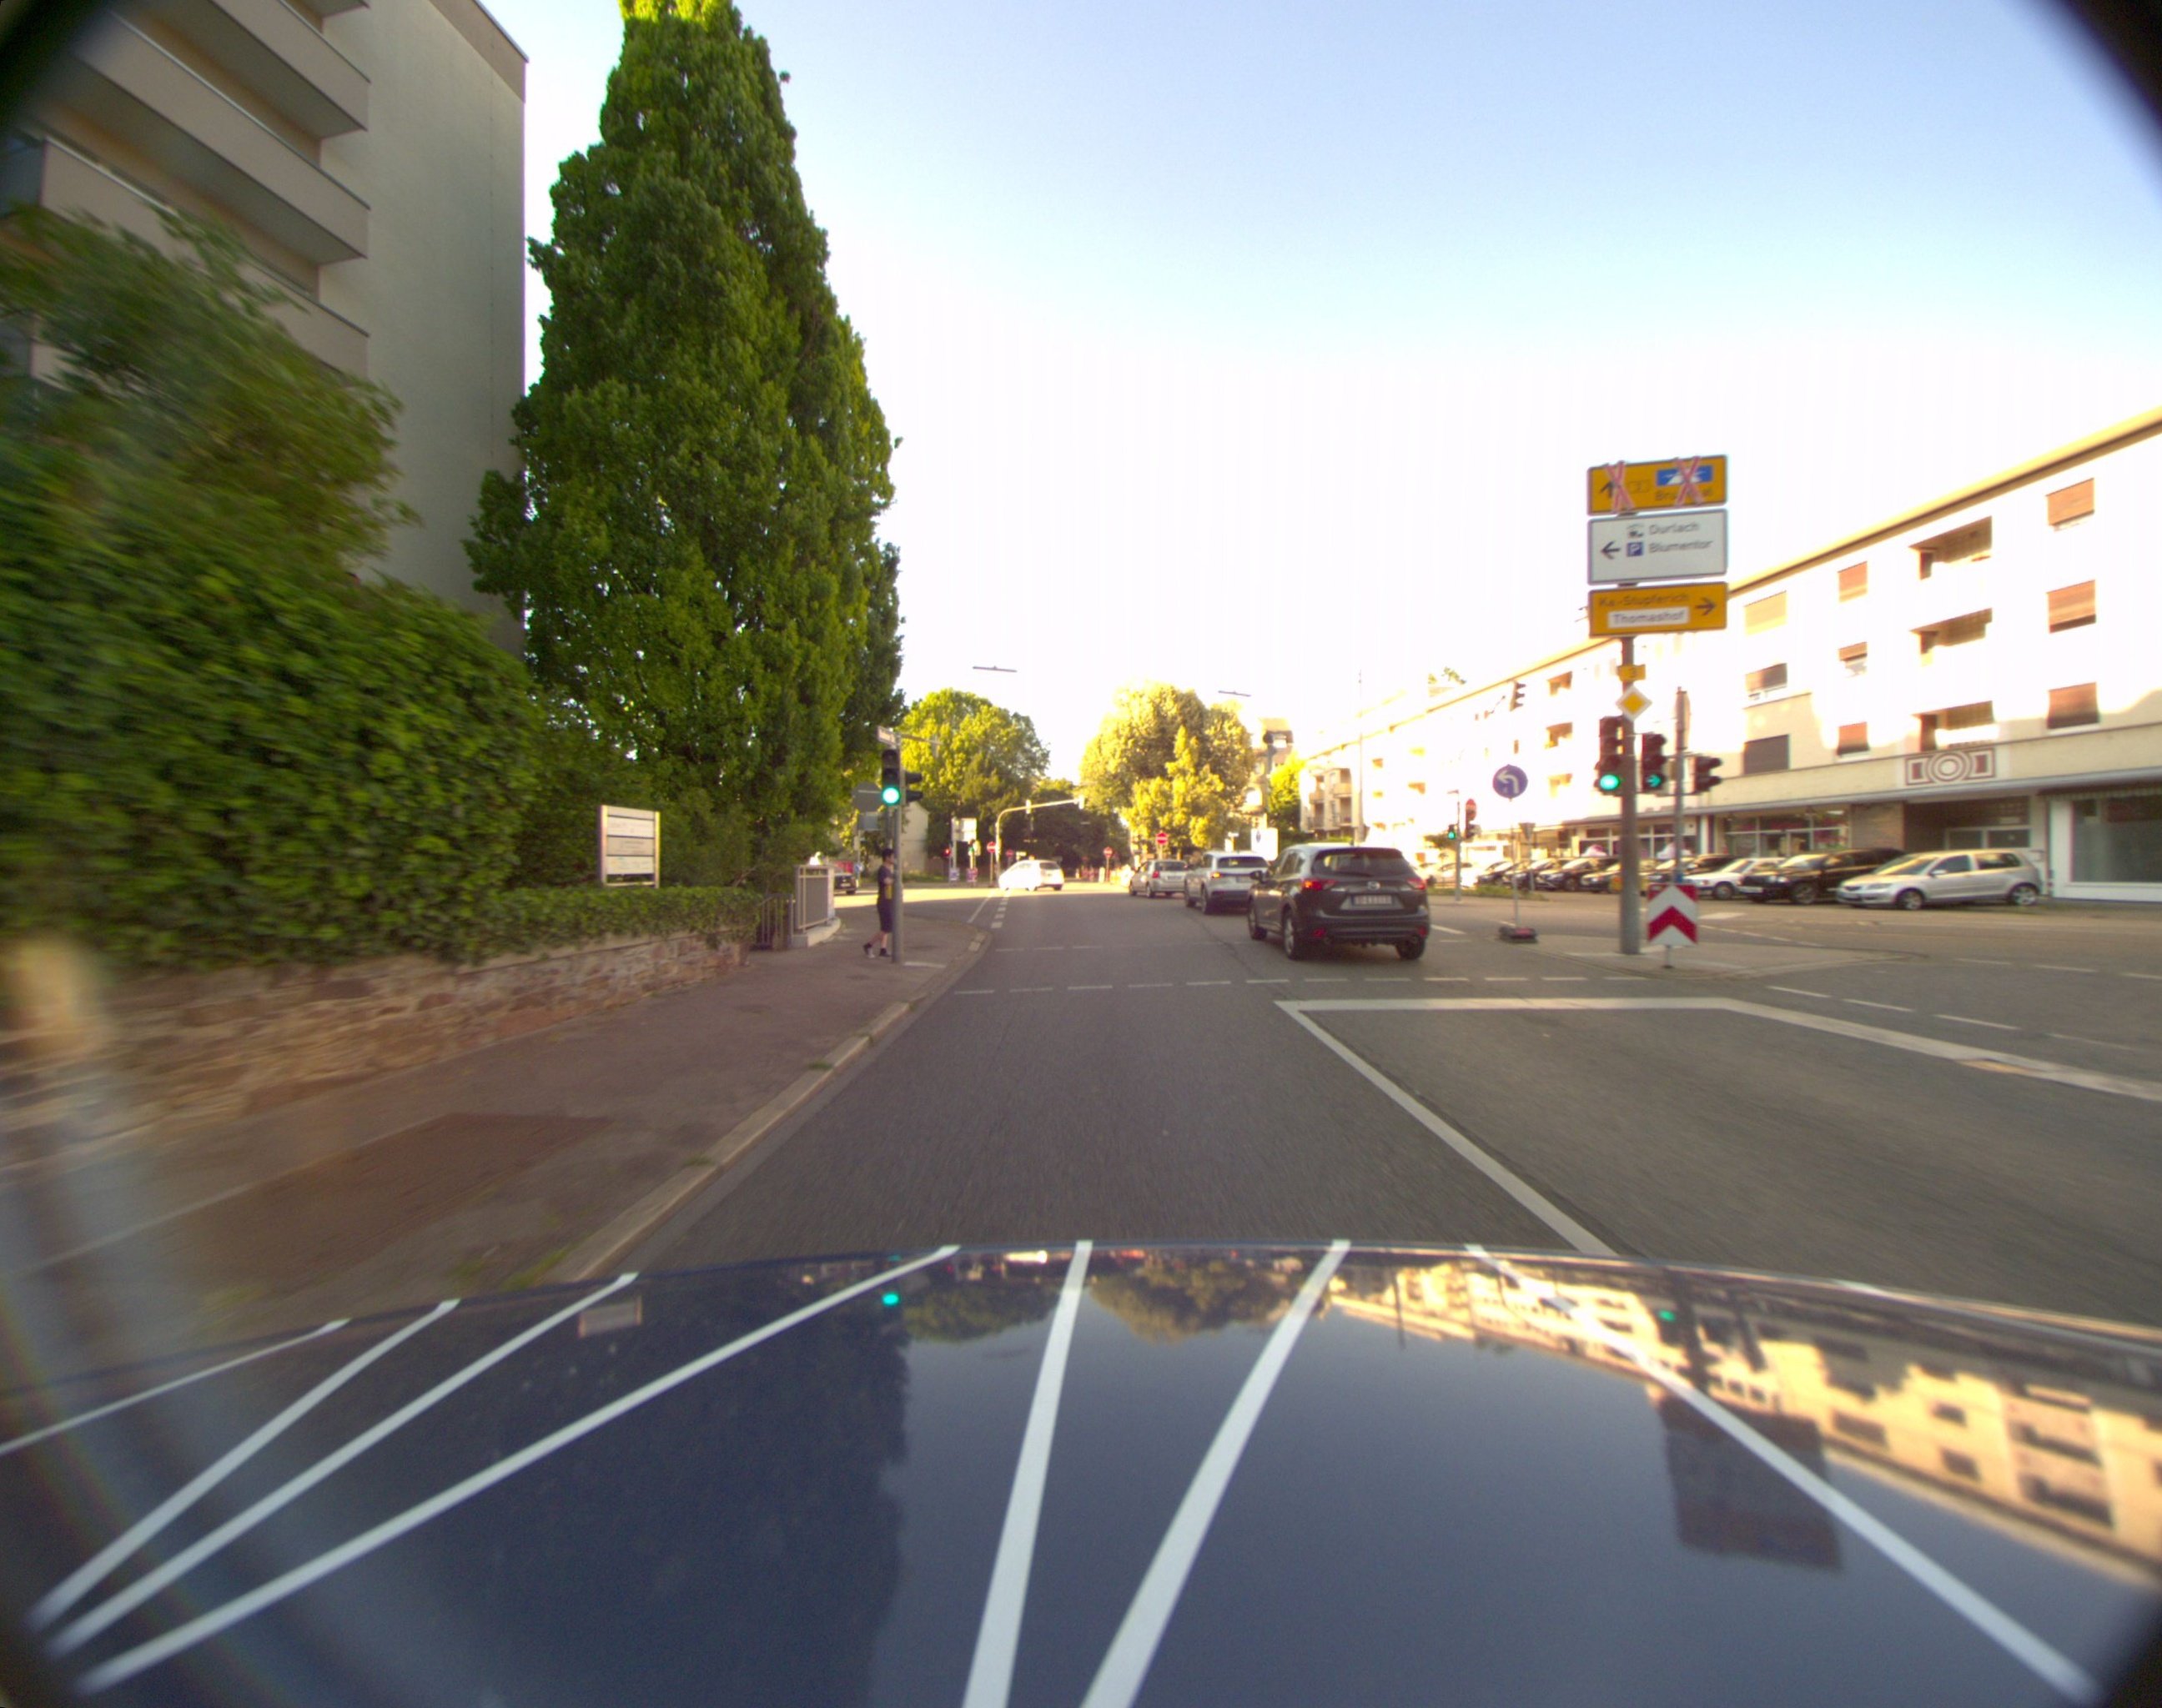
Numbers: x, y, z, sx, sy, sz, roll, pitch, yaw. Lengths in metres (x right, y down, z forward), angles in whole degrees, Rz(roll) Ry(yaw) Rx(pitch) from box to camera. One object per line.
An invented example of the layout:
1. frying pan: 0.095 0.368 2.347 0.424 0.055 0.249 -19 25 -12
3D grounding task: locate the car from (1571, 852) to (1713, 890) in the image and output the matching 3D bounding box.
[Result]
1. car: 22.909 0.702 31.151 4.324 1.390 2.000 -2 -1 0

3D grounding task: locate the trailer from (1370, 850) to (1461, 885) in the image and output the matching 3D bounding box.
1. trailer: 14.573 0.599 33.205 3.263 1.388 1.574 -2 -1 -4

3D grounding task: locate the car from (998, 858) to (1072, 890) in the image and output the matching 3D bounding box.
1. car: -2.420 1.036 39.422 1.785 1.533 3.990 -1 -1 -39

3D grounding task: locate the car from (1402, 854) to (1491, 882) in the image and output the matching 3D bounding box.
1. car: 21.831 0.859 45.513 4.324 1.501 2.000 -2 -1 0

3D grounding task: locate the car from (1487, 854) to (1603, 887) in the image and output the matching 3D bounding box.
1. car: 22.243 0.786 36.542 4.324 1.390 2.000 -2 -1 0

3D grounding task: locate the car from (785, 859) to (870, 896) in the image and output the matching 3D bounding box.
1. car: -12.882 1.155 38.471 4.651 1.661 2.003 -1 2 43

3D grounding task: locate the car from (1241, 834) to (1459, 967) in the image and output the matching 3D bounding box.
1. car: 3.870 0.624 11.804 1.958 1.638 4.284 -2 -1 2

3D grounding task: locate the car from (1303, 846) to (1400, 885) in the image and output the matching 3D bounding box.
1. car: 13.985 0.595 39.469 4.324 1.840 2.000 -2 -1 1

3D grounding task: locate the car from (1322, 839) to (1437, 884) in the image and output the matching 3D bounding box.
1. car: 14.291 0.379 36.544 4.680 1.953 2.117 -2 -1 -4

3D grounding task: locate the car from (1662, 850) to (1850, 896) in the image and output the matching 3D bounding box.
1. car: 22.751 0.650 25.816 4.320 1.390 2.002 -2 -1 12

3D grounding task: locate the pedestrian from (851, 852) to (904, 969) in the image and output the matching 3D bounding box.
1. pedestrian: -3.013 0.817 11.270 0.604 1.683 0.612 0 0 1

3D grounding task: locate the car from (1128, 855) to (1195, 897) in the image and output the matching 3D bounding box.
1. car: 2.997 0.821 29.157 1.781 1.471 4.095 -2 -1 -5

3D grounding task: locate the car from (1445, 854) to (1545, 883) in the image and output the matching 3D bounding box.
1. car: 22.420 0.770 41.255 4.324 1.390 2.000 -2 -1 0

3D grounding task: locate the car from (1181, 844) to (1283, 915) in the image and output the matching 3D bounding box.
1. car: 3.910 0.648 20.457 1.780 1.638 4.535 -2 -1 0

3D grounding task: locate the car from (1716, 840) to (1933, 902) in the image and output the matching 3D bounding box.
1. car: 22.543 0.518 23.249 4.320 1.704 2.002 -2 -1 12

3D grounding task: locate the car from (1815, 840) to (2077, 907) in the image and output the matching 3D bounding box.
1. car: 23.179 0.529 20.578 4.320 1.601 2.002 -2 -1 12
